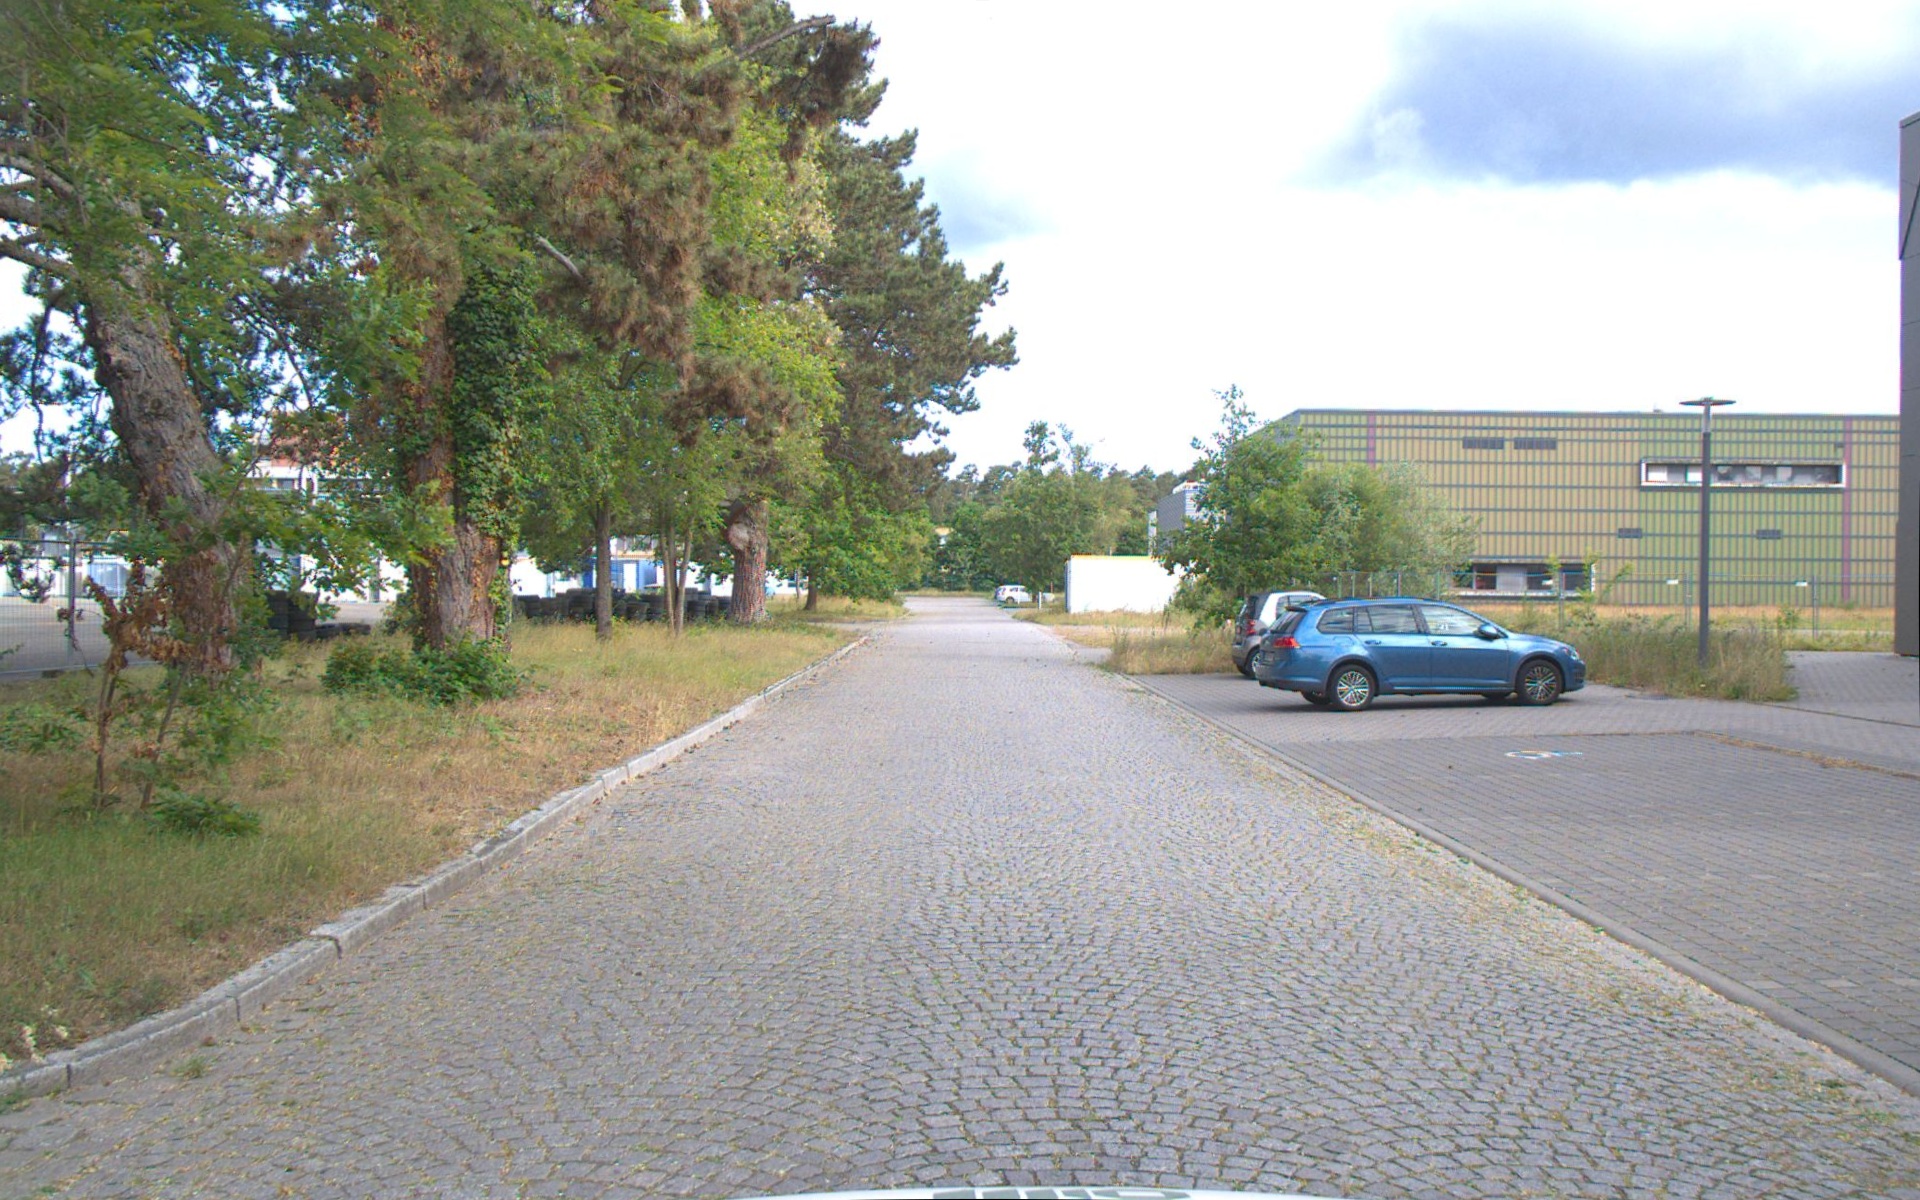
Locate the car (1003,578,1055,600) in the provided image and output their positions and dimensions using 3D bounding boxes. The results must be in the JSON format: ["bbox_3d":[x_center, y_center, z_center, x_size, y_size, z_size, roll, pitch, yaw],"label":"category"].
[{"bbox_3d":[5.709,-0.905,137.653,4.265,1.811,1.925,1,0,1],"label":"car"}]

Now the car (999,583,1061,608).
[{"bbox_3d":[4.934,-0.310,116.653,4.266,1.717,1.925,1,0,-1],"label":"car"}]

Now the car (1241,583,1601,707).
[{"bbox_3d":[6.346,0.582,23.093,4.428,1.558,1.999,-1,1,-4],"label":"car"}]

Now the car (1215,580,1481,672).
[{"bbox_3d":[7.065,0.447,30.467,4.425,1.558,2.000,-1,1,0],"label":"car"}]
